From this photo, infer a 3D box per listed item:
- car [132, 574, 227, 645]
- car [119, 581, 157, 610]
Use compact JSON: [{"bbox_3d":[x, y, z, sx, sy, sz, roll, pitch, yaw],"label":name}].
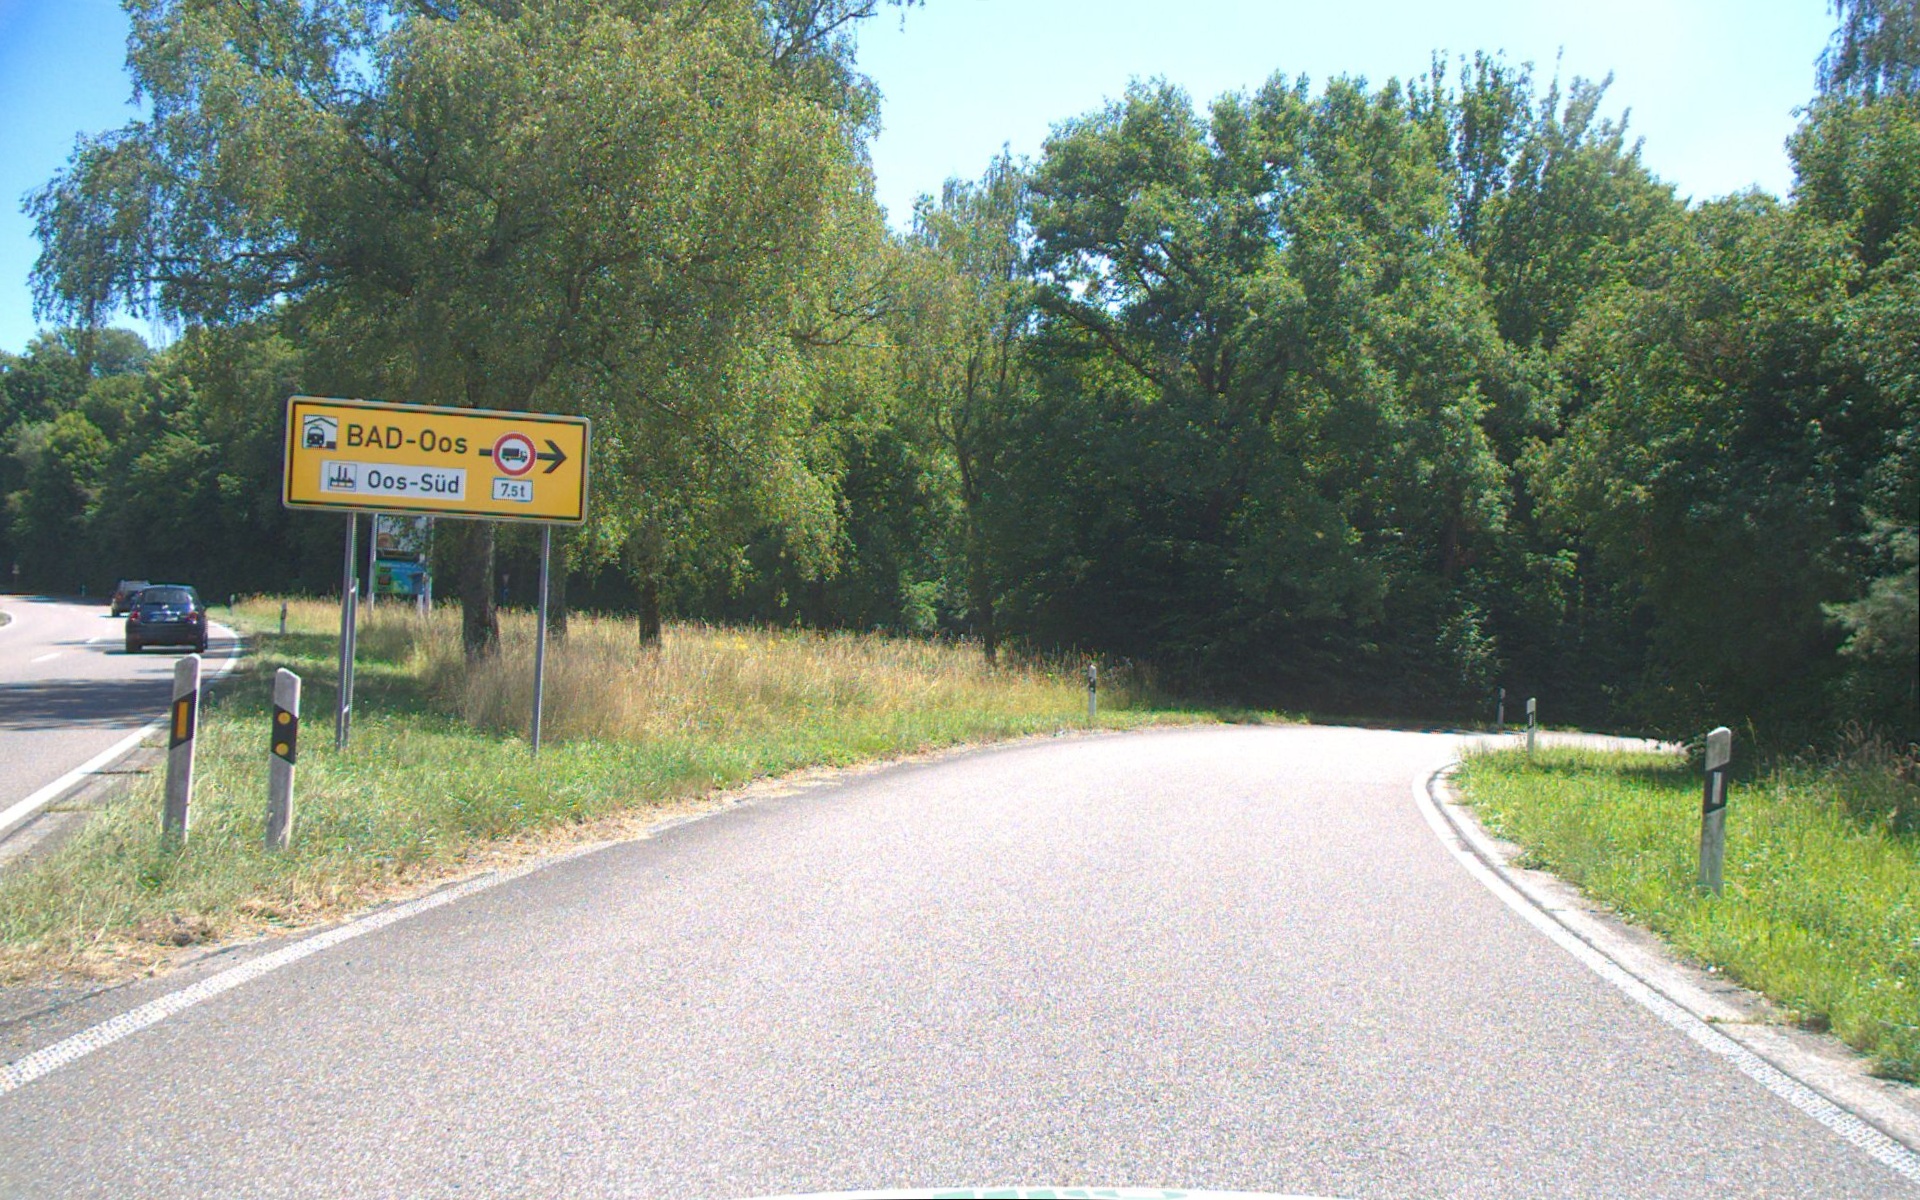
[{"bbox_3d":[-17.802,0.214,37.842,1.490,1.527,3.571,1,0,-18],"label":"car"},{"bbox_3d":[-39.369,-0.214,79.266,1.505,1.337,3.388,1,-1,-25],"label":"car"}]
